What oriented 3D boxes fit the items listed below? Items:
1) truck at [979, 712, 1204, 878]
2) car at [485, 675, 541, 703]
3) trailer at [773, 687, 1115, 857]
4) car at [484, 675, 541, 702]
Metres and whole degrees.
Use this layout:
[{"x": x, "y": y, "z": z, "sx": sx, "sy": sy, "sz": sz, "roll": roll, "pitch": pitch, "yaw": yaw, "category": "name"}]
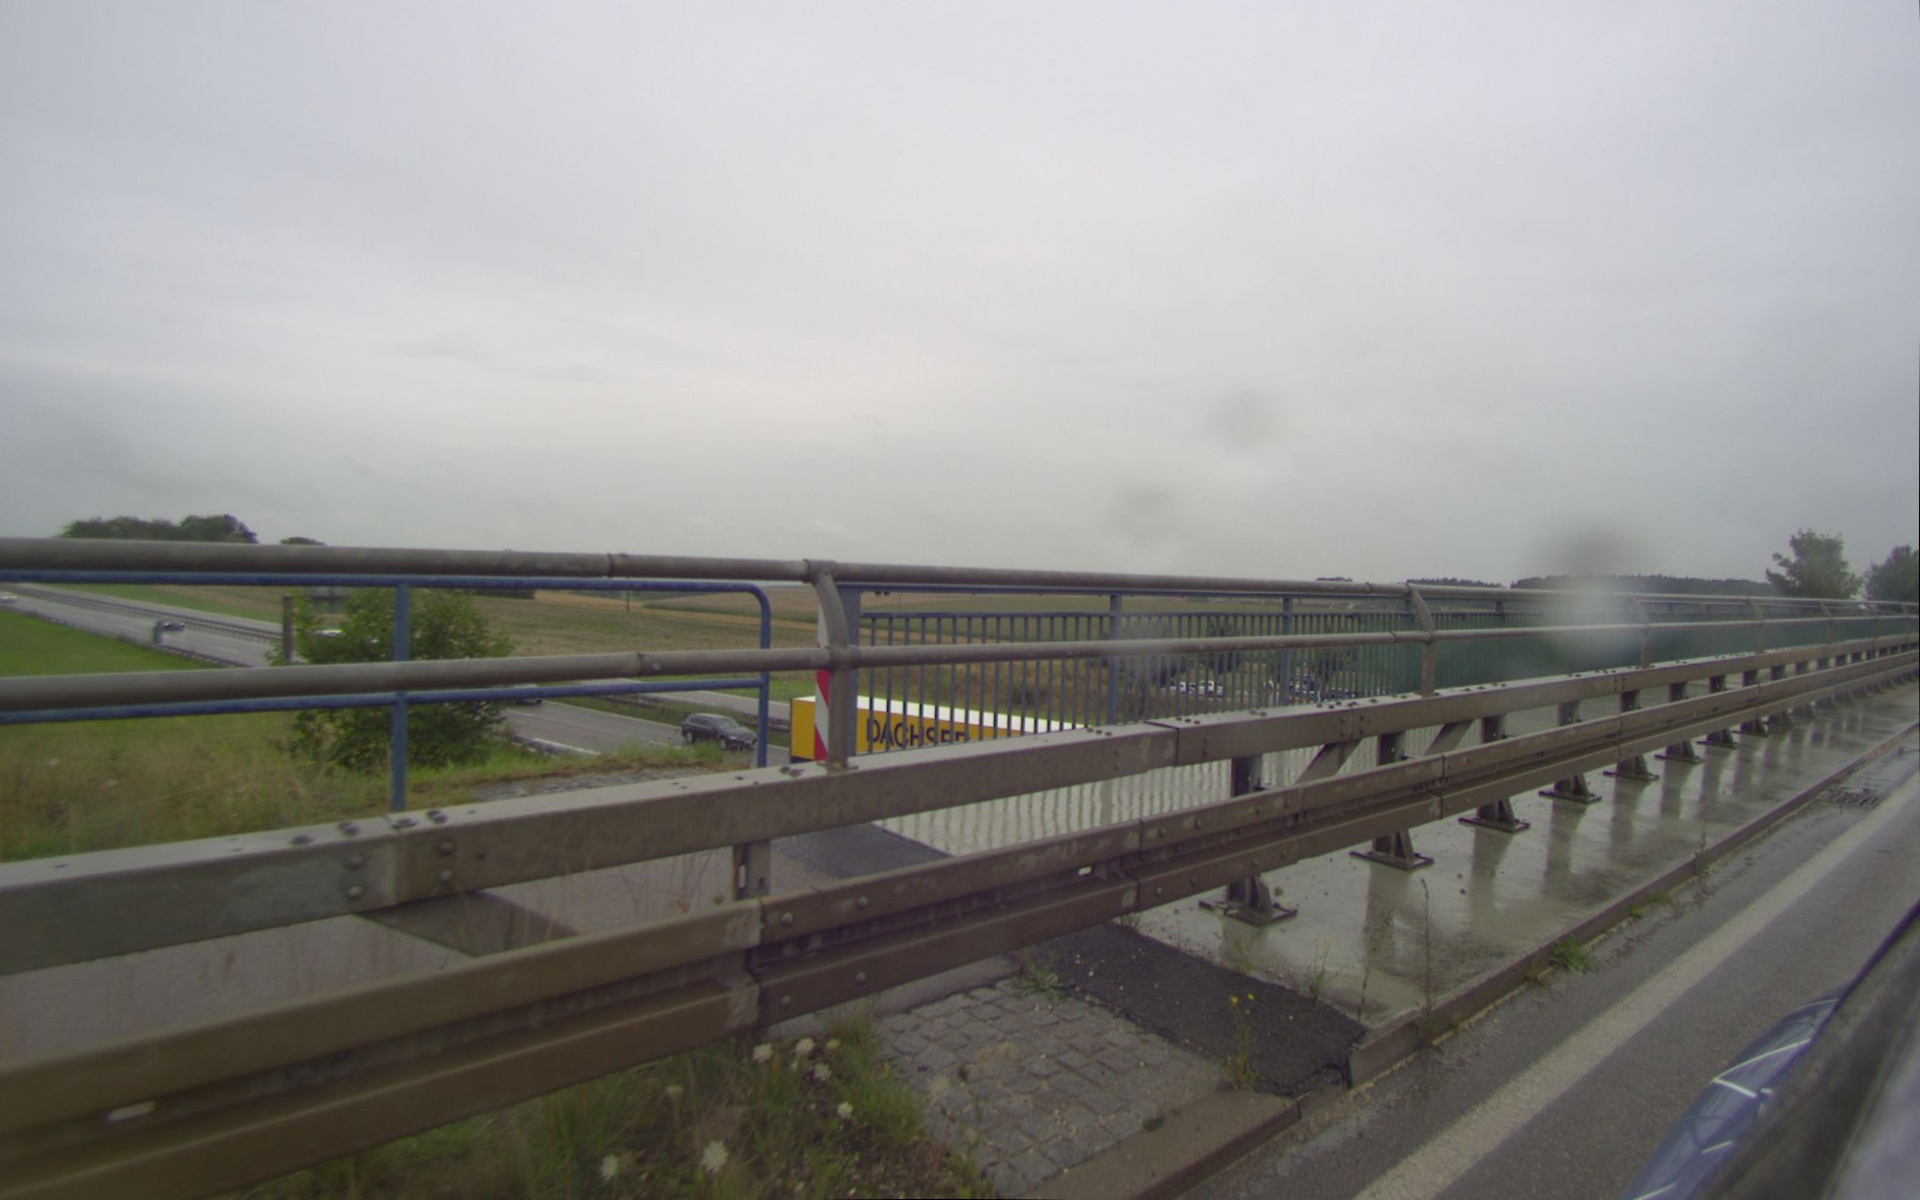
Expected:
[{"x": 4.245, "y": 6.183, "z": 33.416, "sx": 6.785, "sy": 4.017, "sz": 2.842, "roll": 3, "pitch": 0, "yaw": 38, "category": "truck"}, {"x": -28.860, "y": 5.690, "z": 65.260, "sx": 3.981, "sy": 1.368, "sz": 1.653, "roll": 2, "pitch": 0, "yaw": 39, "category": "car"}, {"x": -1.132, "y": 5.940, "z": 37.627, "sx": 13.950, "sy": 4.017, "sz": 2.842, "roll": 3, "pitch": 0, "yaw": 38, "category": "trailer"}, {"x": -28.908, "y": 5.681, "z": 65.282, "sx": 3.978, "sy": 1.368, "sz": 1.654, "roll": 2, "pitch": 0, "yaw": 38, "category": "car"}]
